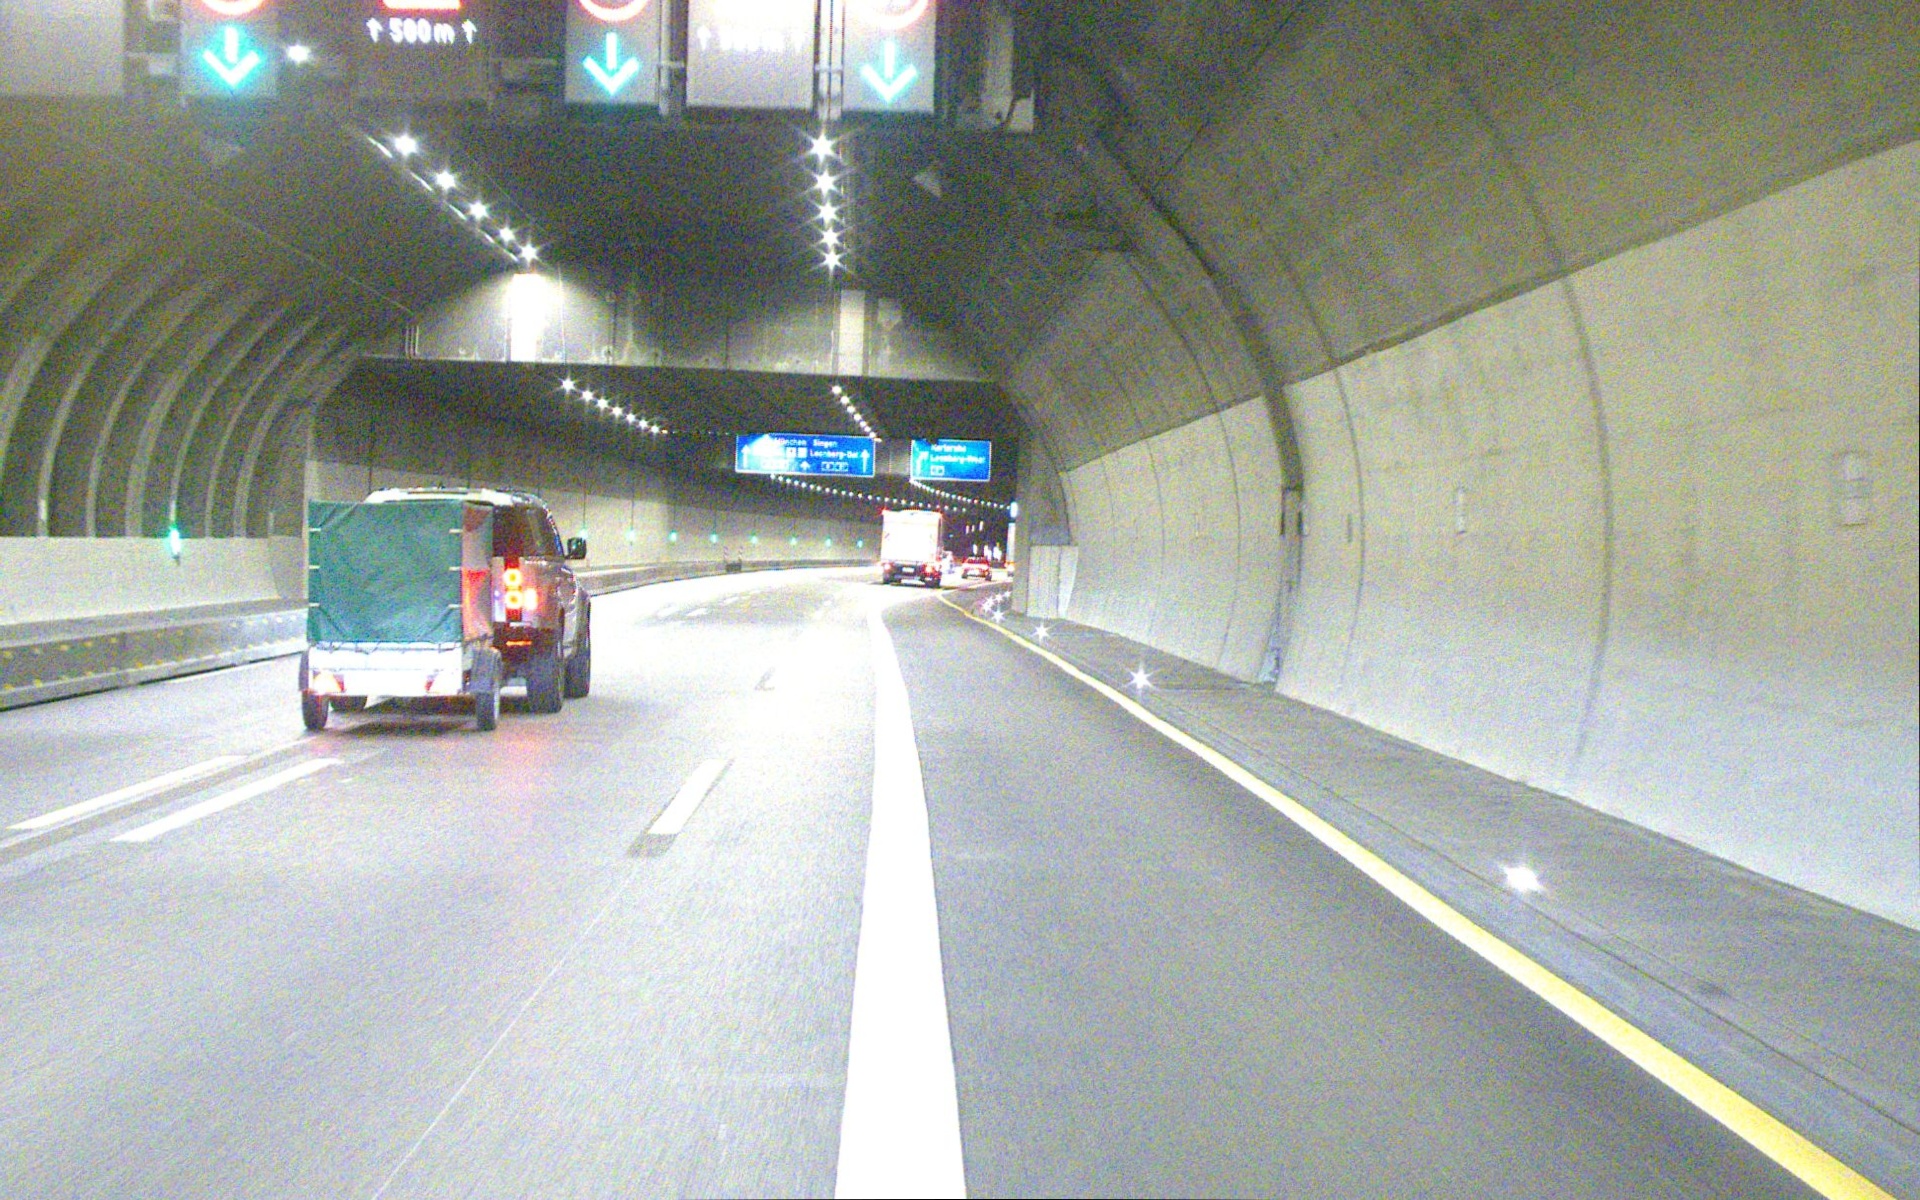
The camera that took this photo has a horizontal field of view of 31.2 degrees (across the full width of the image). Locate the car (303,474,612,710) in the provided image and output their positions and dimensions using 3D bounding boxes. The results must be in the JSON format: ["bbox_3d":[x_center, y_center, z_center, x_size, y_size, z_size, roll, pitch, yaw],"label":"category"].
[{"bbox_3d":[-4.432,-0.114,31.177,1.993,1.888,5.454,2,1,0],"label":"car"}]

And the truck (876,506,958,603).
[{"bbox_3d":[-2.095,-2.223,162.308,3.474,4.301,10.953,2,1,-2],"label":"truck"}]

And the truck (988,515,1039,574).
[{"bbox_3d":[4.022,-4.221,260.681,3.474,4.301,10.953,1,1,-1],"label":"truck"}]

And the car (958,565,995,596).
[{"bbox_3d":[1.095,-1.270,222.521,1.994,1.888,5.531,2,1,4],"label":"car"}]
